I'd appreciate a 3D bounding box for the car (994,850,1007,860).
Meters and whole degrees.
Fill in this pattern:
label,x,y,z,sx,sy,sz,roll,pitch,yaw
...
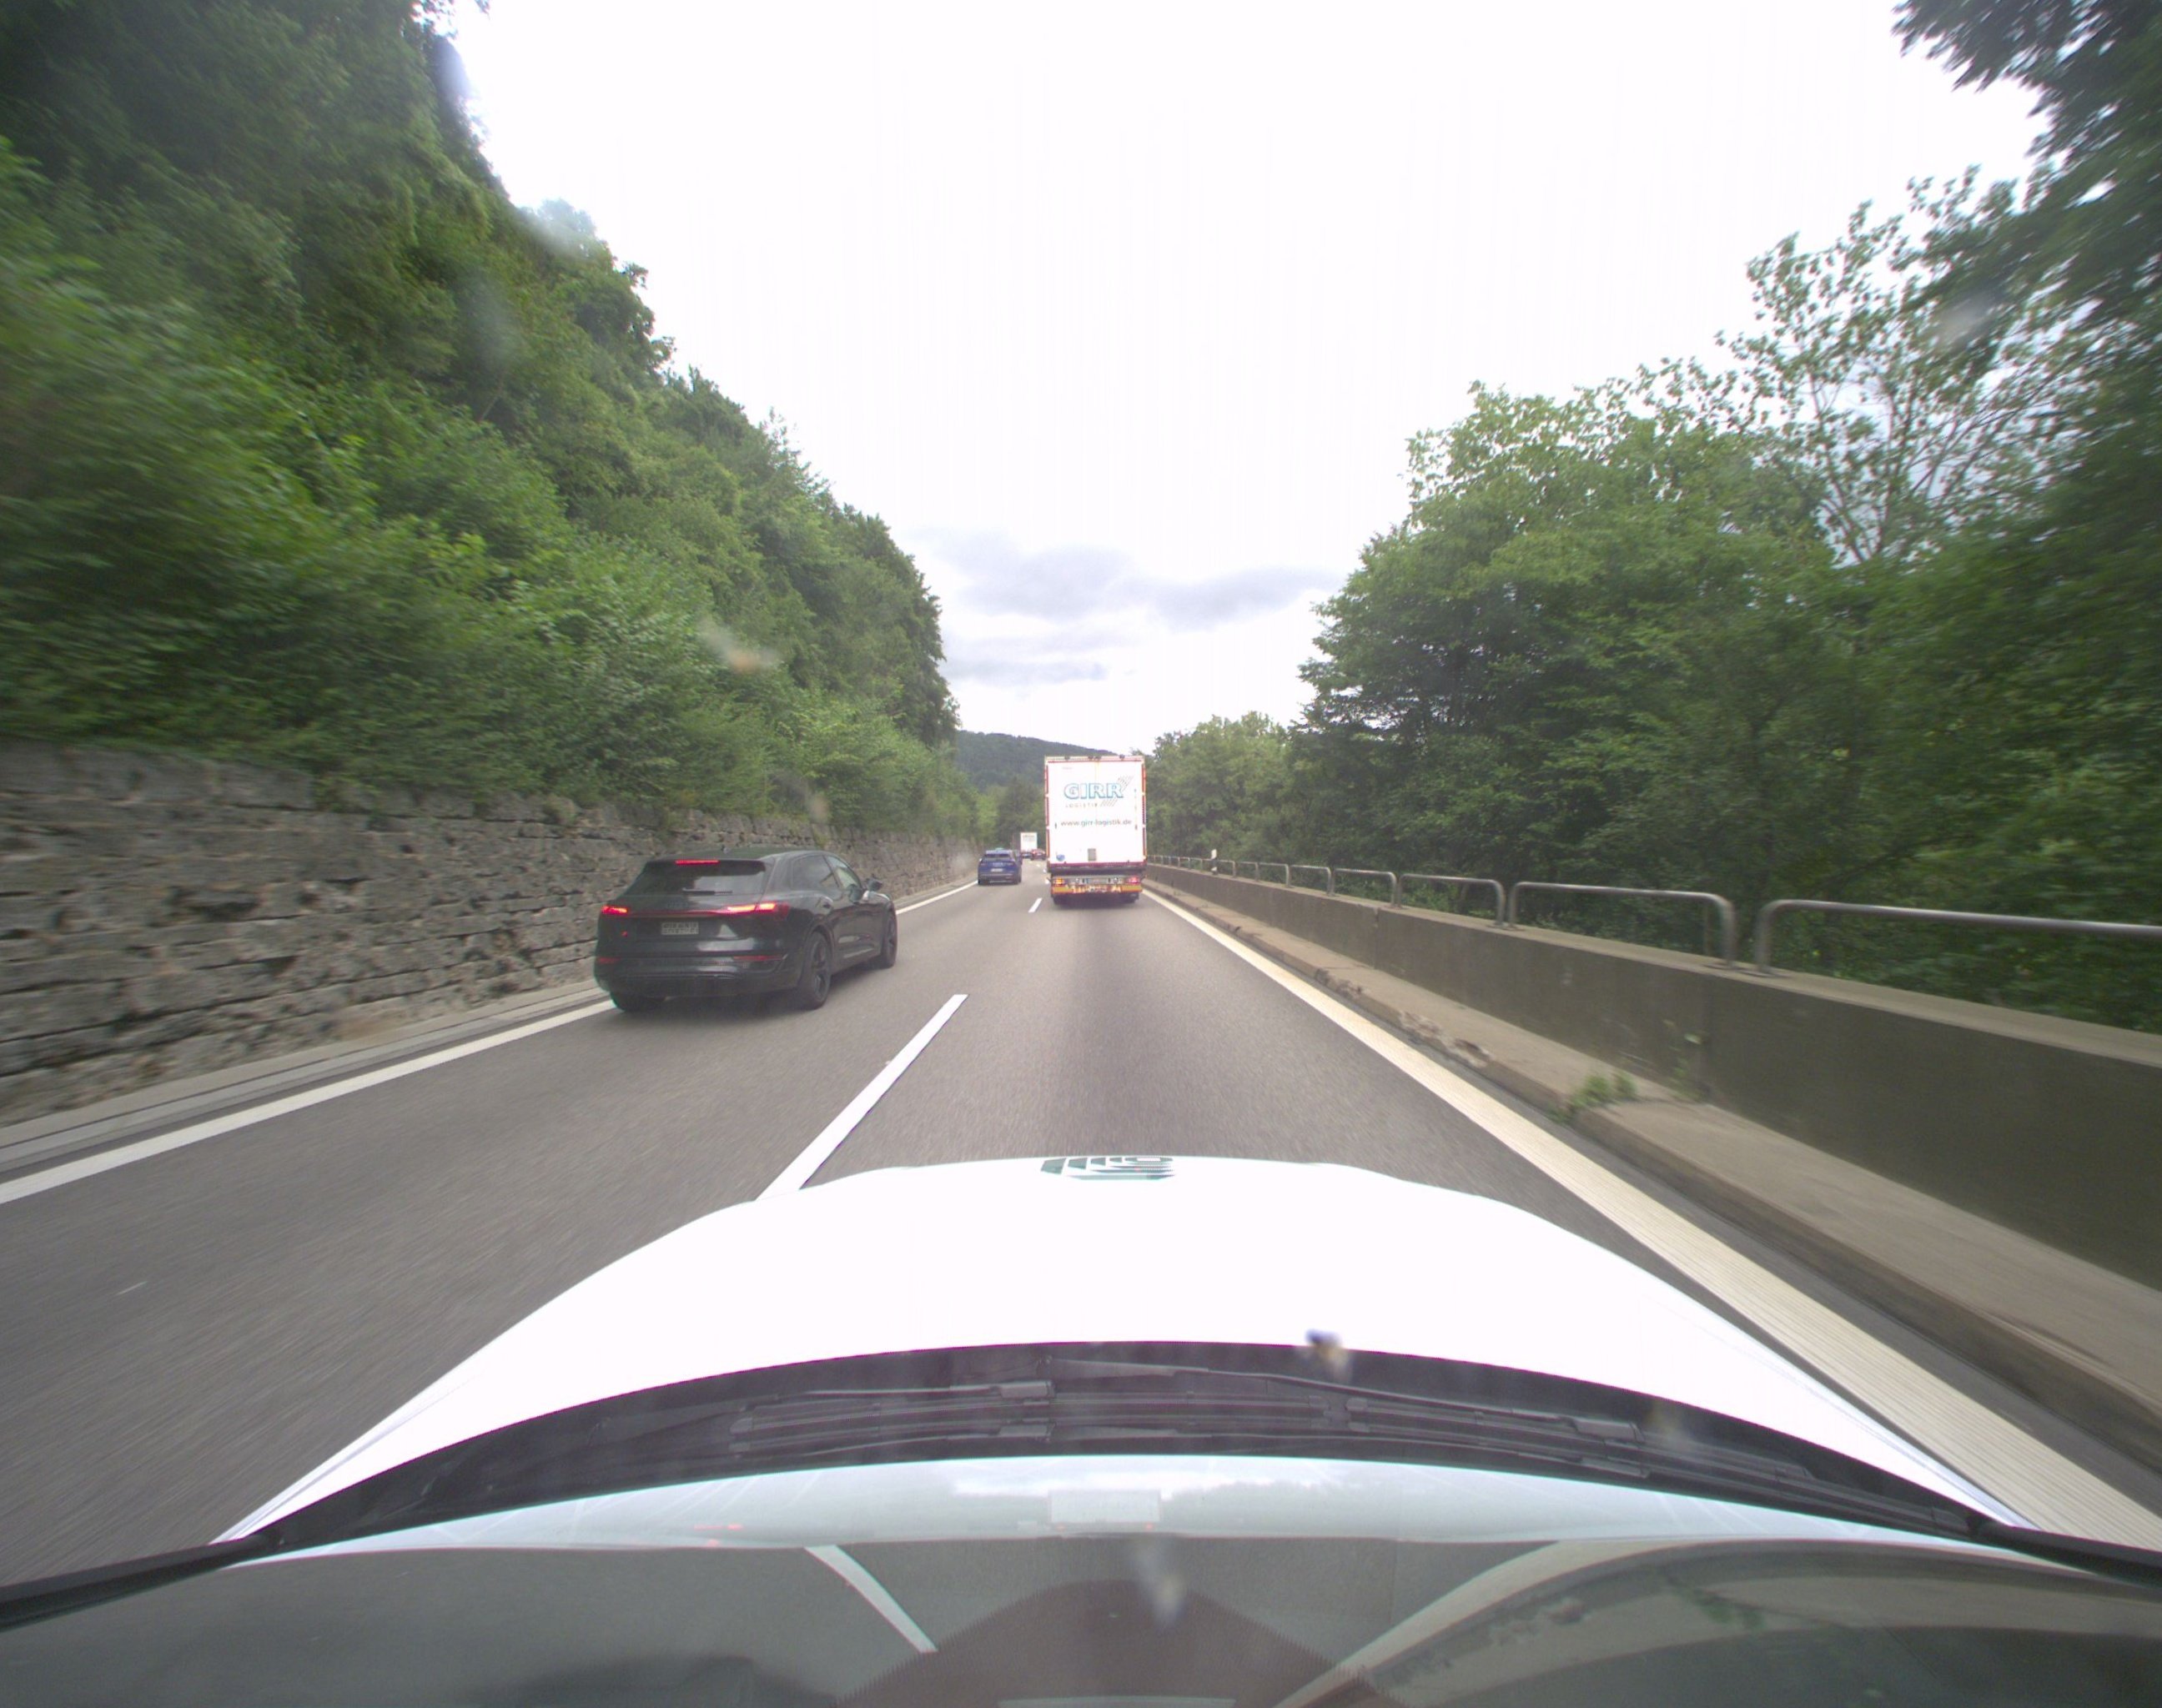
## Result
label,x,y,z,sx,sy,sz,roll,pitch,yaw
car,-12.737,0.070,128.863,1.897,1.550,4.235,0,0,-10

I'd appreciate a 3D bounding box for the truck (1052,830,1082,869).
label,x,y,z,sx,sy,sz,roll,pitch,yaw
truck,-1.109,-0.314,62.725,2.203,2.851,4.999,0,0,-3

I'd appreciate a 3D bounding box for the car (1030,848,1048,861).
label,x,y,z,sx,sy,sz,roll,pitch,yaw
car,-5.414,0.049,105.194,2.059,1.654,3.990,-1,0,-7

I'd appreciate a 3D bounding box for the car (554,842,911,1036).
label,x,y,z,sx,sy,sz,roll,pitch,yaw
car,-3.504,0.722,9.485,1.987,1.632,5.007,-1,0,0

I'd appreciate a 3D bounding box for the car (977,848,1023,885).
label,x,y,z,sx,sy,sz,roll,pitch,yaw
car,-3.796,0.553,38.850,1.989,1.632,5.001,-1,0,-4

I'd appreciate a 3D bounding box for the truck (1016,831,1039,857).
label,x,y,z,sx,sy,sz,roll,pitch,yaw
truck,-8.392,-1.472,127.265,2.633,3.857,12.324,-1,0,-8

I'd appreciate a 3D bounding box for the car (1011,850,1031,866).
label,x,y,z,sx,sy,sz,roll,pitch,yaw
car,-6.113,0.390,82.504,1.990,1.596,4.346,0,0,-5

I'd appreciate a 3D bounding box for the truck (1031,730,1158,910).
label,x,y,z,sx,sy,sz,roll,pitch,yaw
truck,0.174,-0.895,28.018,3.076,4.464,15.146,-1,0,-1

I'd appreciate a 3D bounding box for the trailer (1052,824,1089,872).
label,x,y,z,sx,sy,sz,roll,pitch,yaw
trailer,-0.859,-0.368,57.230,2.207,3.048,11.126,0,0,-3
